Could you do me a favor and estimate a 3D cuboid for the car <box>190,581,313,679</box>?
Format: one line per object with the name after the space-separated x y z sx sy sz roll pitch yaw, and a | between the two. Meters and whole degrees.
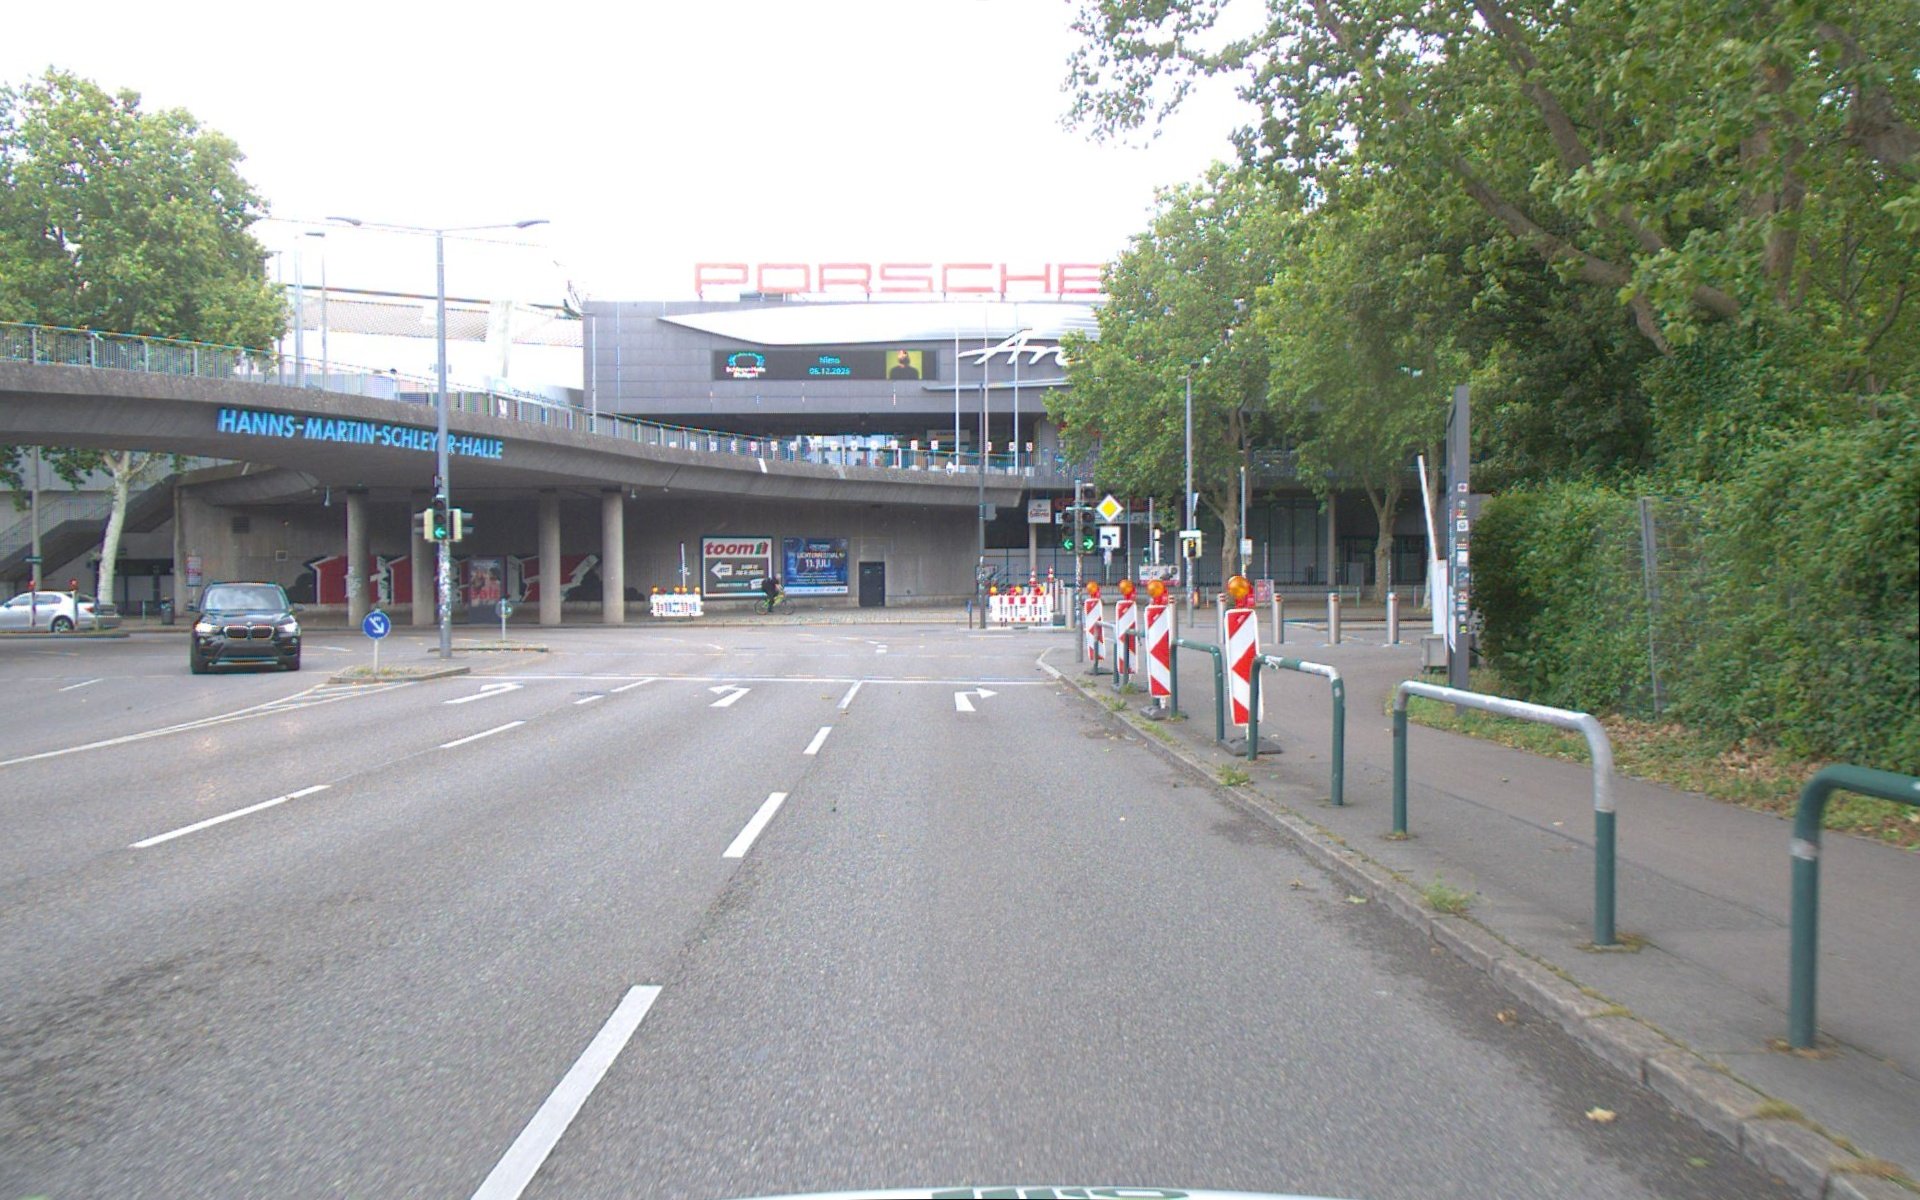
-13.100 0.524 30.781 1.743 1.634 4.403 -2 0 -19 | car

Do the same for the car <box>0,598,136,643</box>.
-29.367 0.667 54.010 3.906 1.443 2.000 0 0 -1 | car

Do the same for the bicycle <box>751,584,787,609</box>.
-8.129 -0.149 70.514 1.503 1.031 0.516 1 0 -5 | bicycle

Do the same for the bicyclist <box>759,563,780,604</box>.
-8.125 -0.691 70.522 0.835 1.727 0.766 1 0 -5 | bicyclist
